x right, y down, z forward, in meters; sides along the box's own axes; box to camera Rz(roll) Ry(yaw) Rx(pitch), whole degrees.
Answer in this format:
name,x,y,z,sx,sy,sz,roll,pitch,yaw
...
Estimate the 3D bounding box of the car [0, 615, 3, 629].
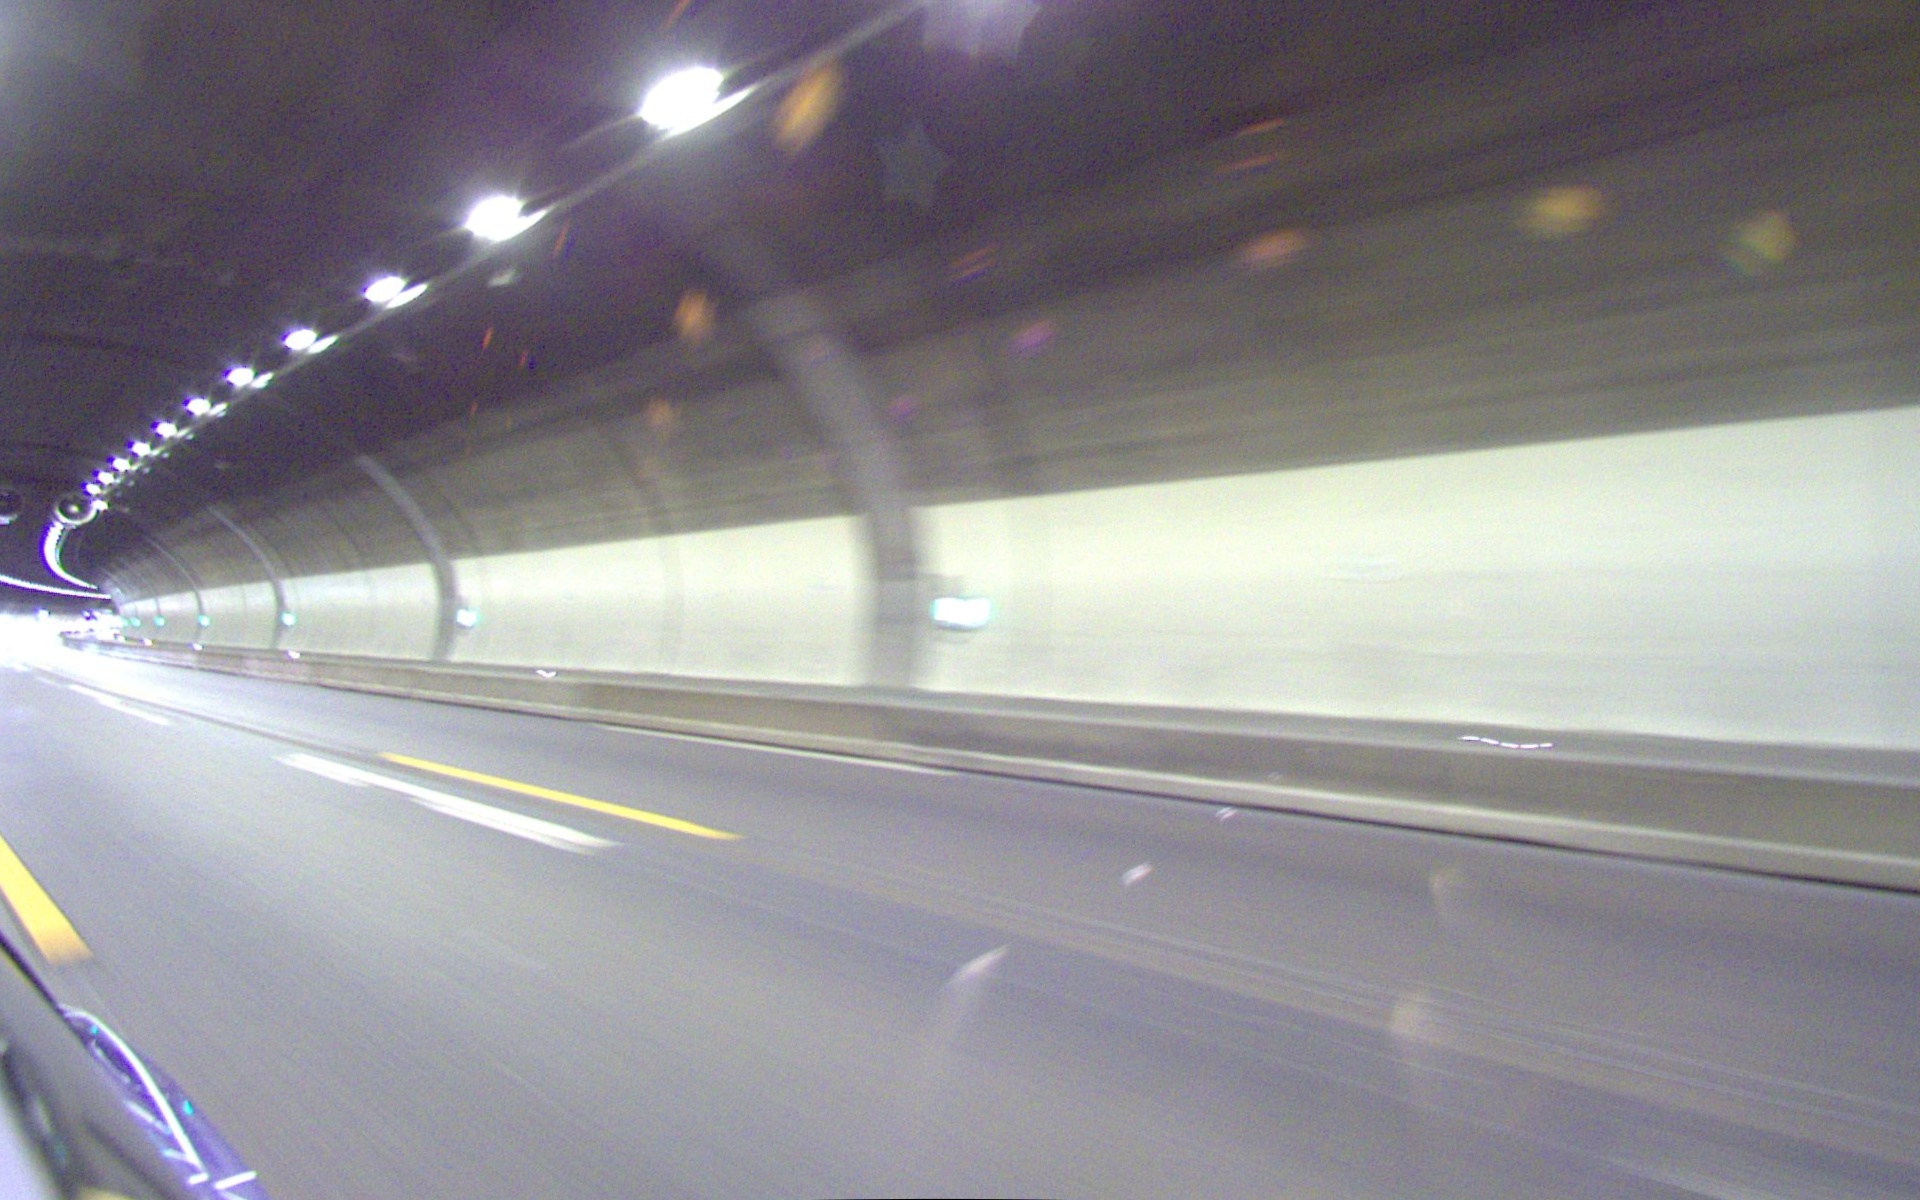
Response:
name,x,y,z,sx,sy,sz,roll,pitch,yaw
car,-127.336,2.923,132.888,1.968,1.943,4.394,-2,0,-38
